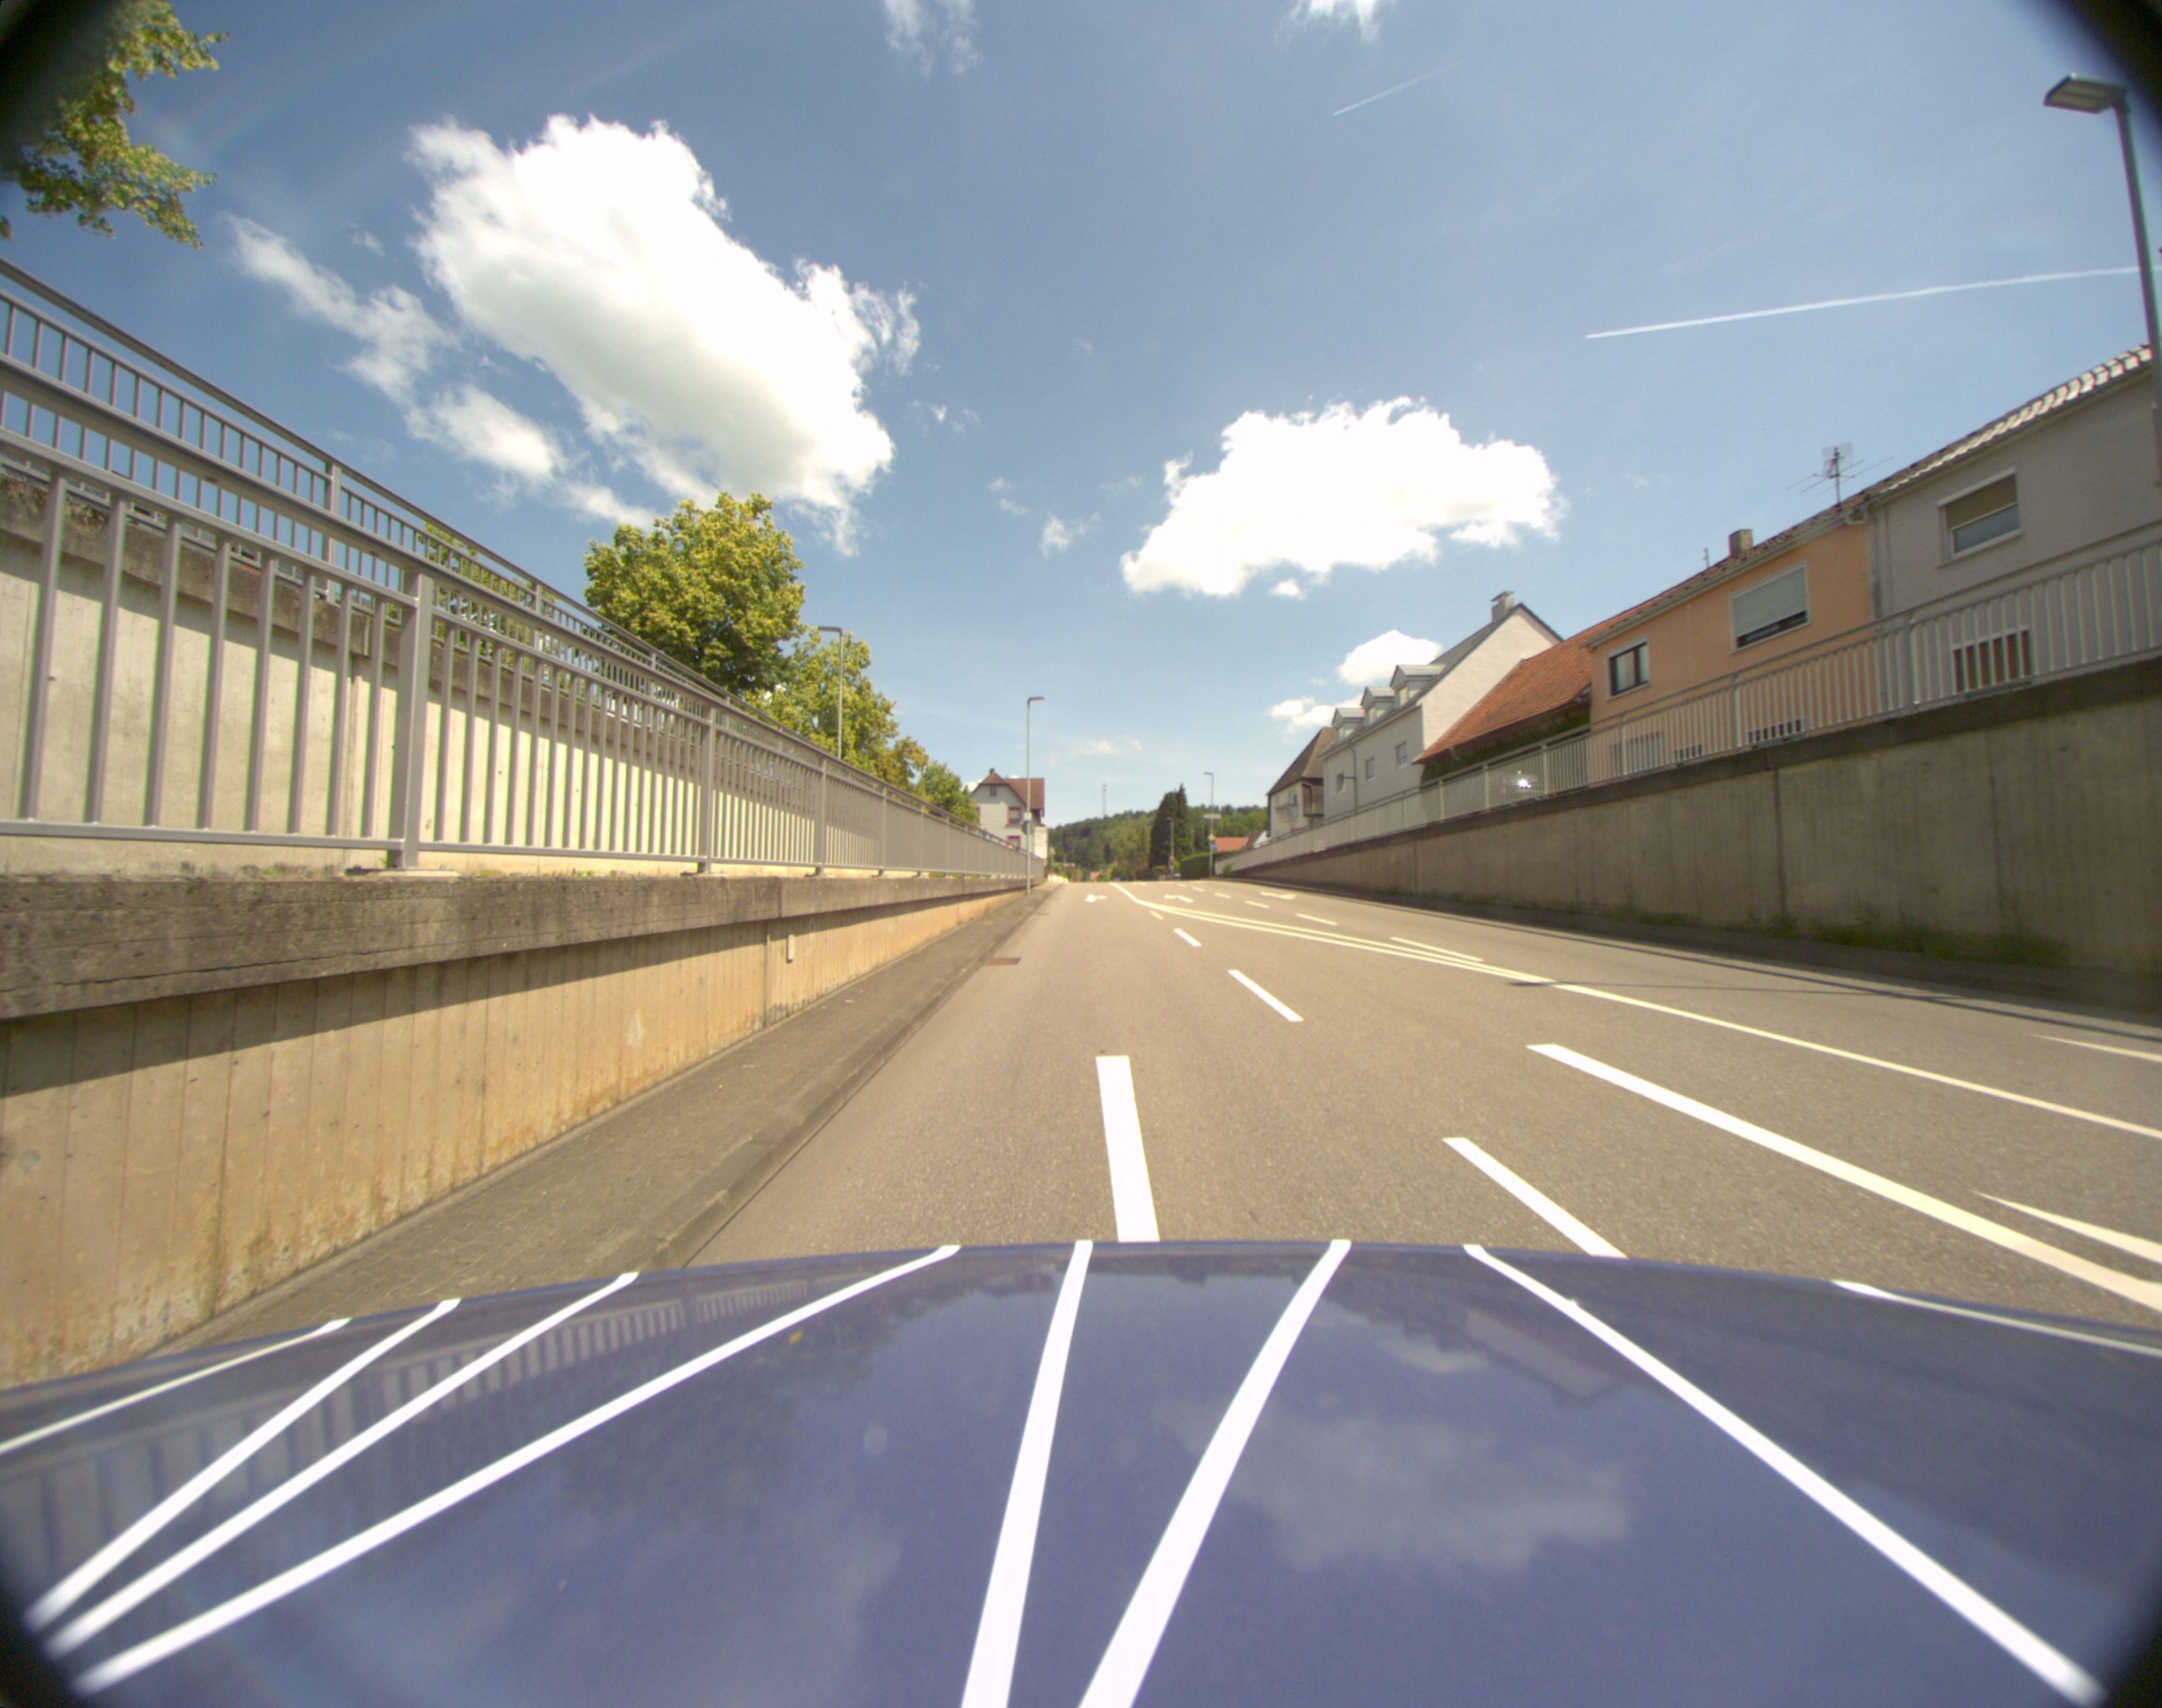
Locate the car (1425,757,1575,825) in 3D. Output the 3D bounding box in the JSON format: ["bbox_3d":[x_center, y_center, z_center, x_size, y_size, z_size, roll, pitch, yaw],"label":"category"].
[{"bbox_3d":[11.900,-1.734,21.971,1.790,1.396,4.394,-1,-2,-1],"label":"car"}]
